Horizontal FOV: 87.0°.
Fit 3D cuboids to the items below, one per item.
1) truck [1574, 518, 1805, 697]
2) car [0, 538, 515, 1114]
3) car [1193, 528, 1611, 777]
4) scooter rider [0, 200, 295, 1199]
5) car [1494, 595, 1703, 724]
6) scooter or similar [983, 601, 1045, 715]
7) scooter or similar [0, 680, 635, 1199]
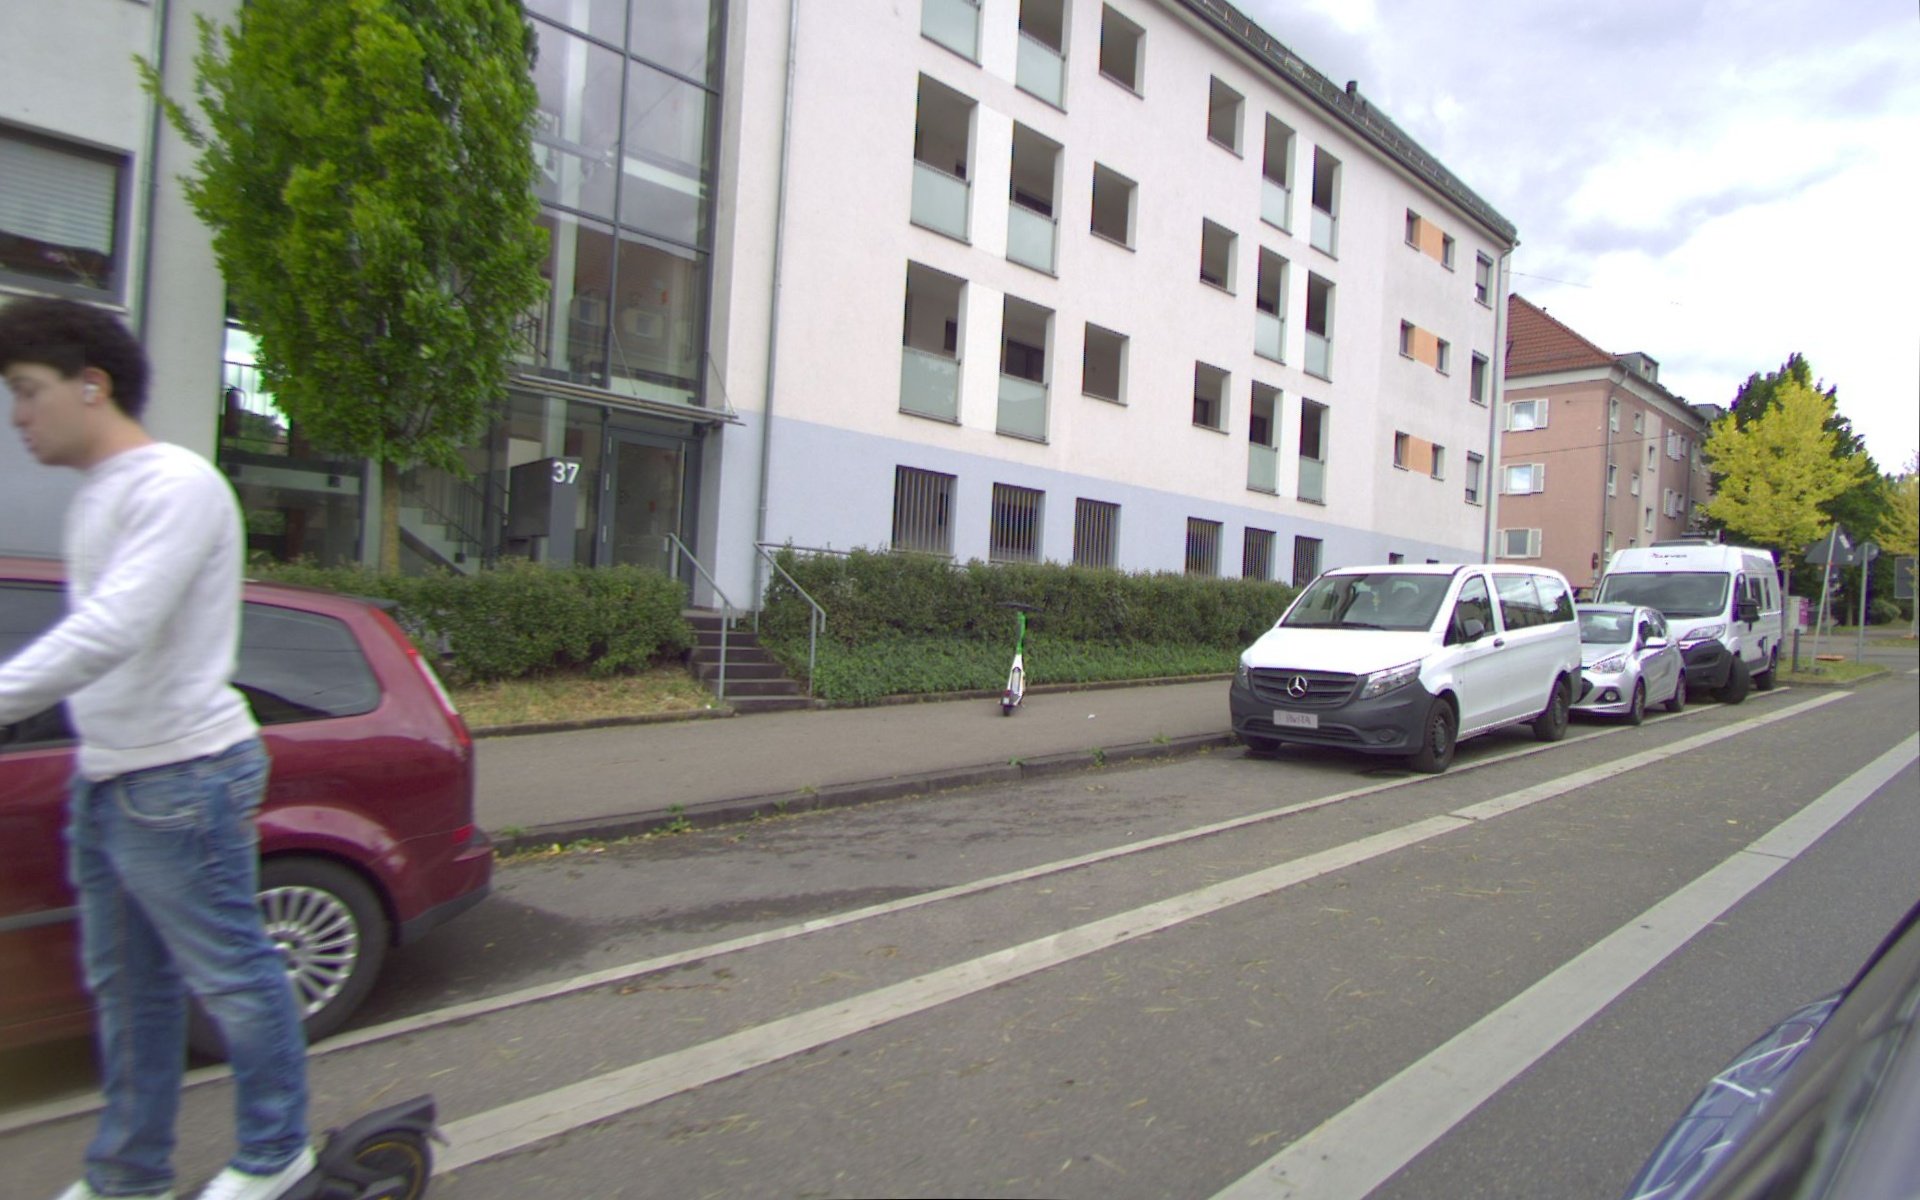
[{"bbox_3d":[12.617,0.114,17.324,5.591,2.598,2.055,1,1,-42],"label":"truck"},{"bbox_3d":[-3.746,0.592,2.836,4.264,1.564,1.683,1,0,-42],"label":"car"},{"bbox_3d":[4.771,0.413,10.470,5.121,1.968,1.997,1,1,-42],"label":"car"},{"bbox_3d":[-1.723,0.382,1.843,0.744,2.039,0.626,1,0,-42],"label":"scooter rider"},{"bbox_3d":[8.652,0.703,13.598,3.663,1.505,1.526,1,-1,-43],"label":"car"},{"bbox_3d":[0.565,0.593,11.017,0.460,1.119,1.387,1,1,-5],"label":"scooter or similar"},{"bbox_3d":[-1.703,0.803,1.902,2.039,1.178,0.491,1,0,-42],"label":"scooter or similar"}]
